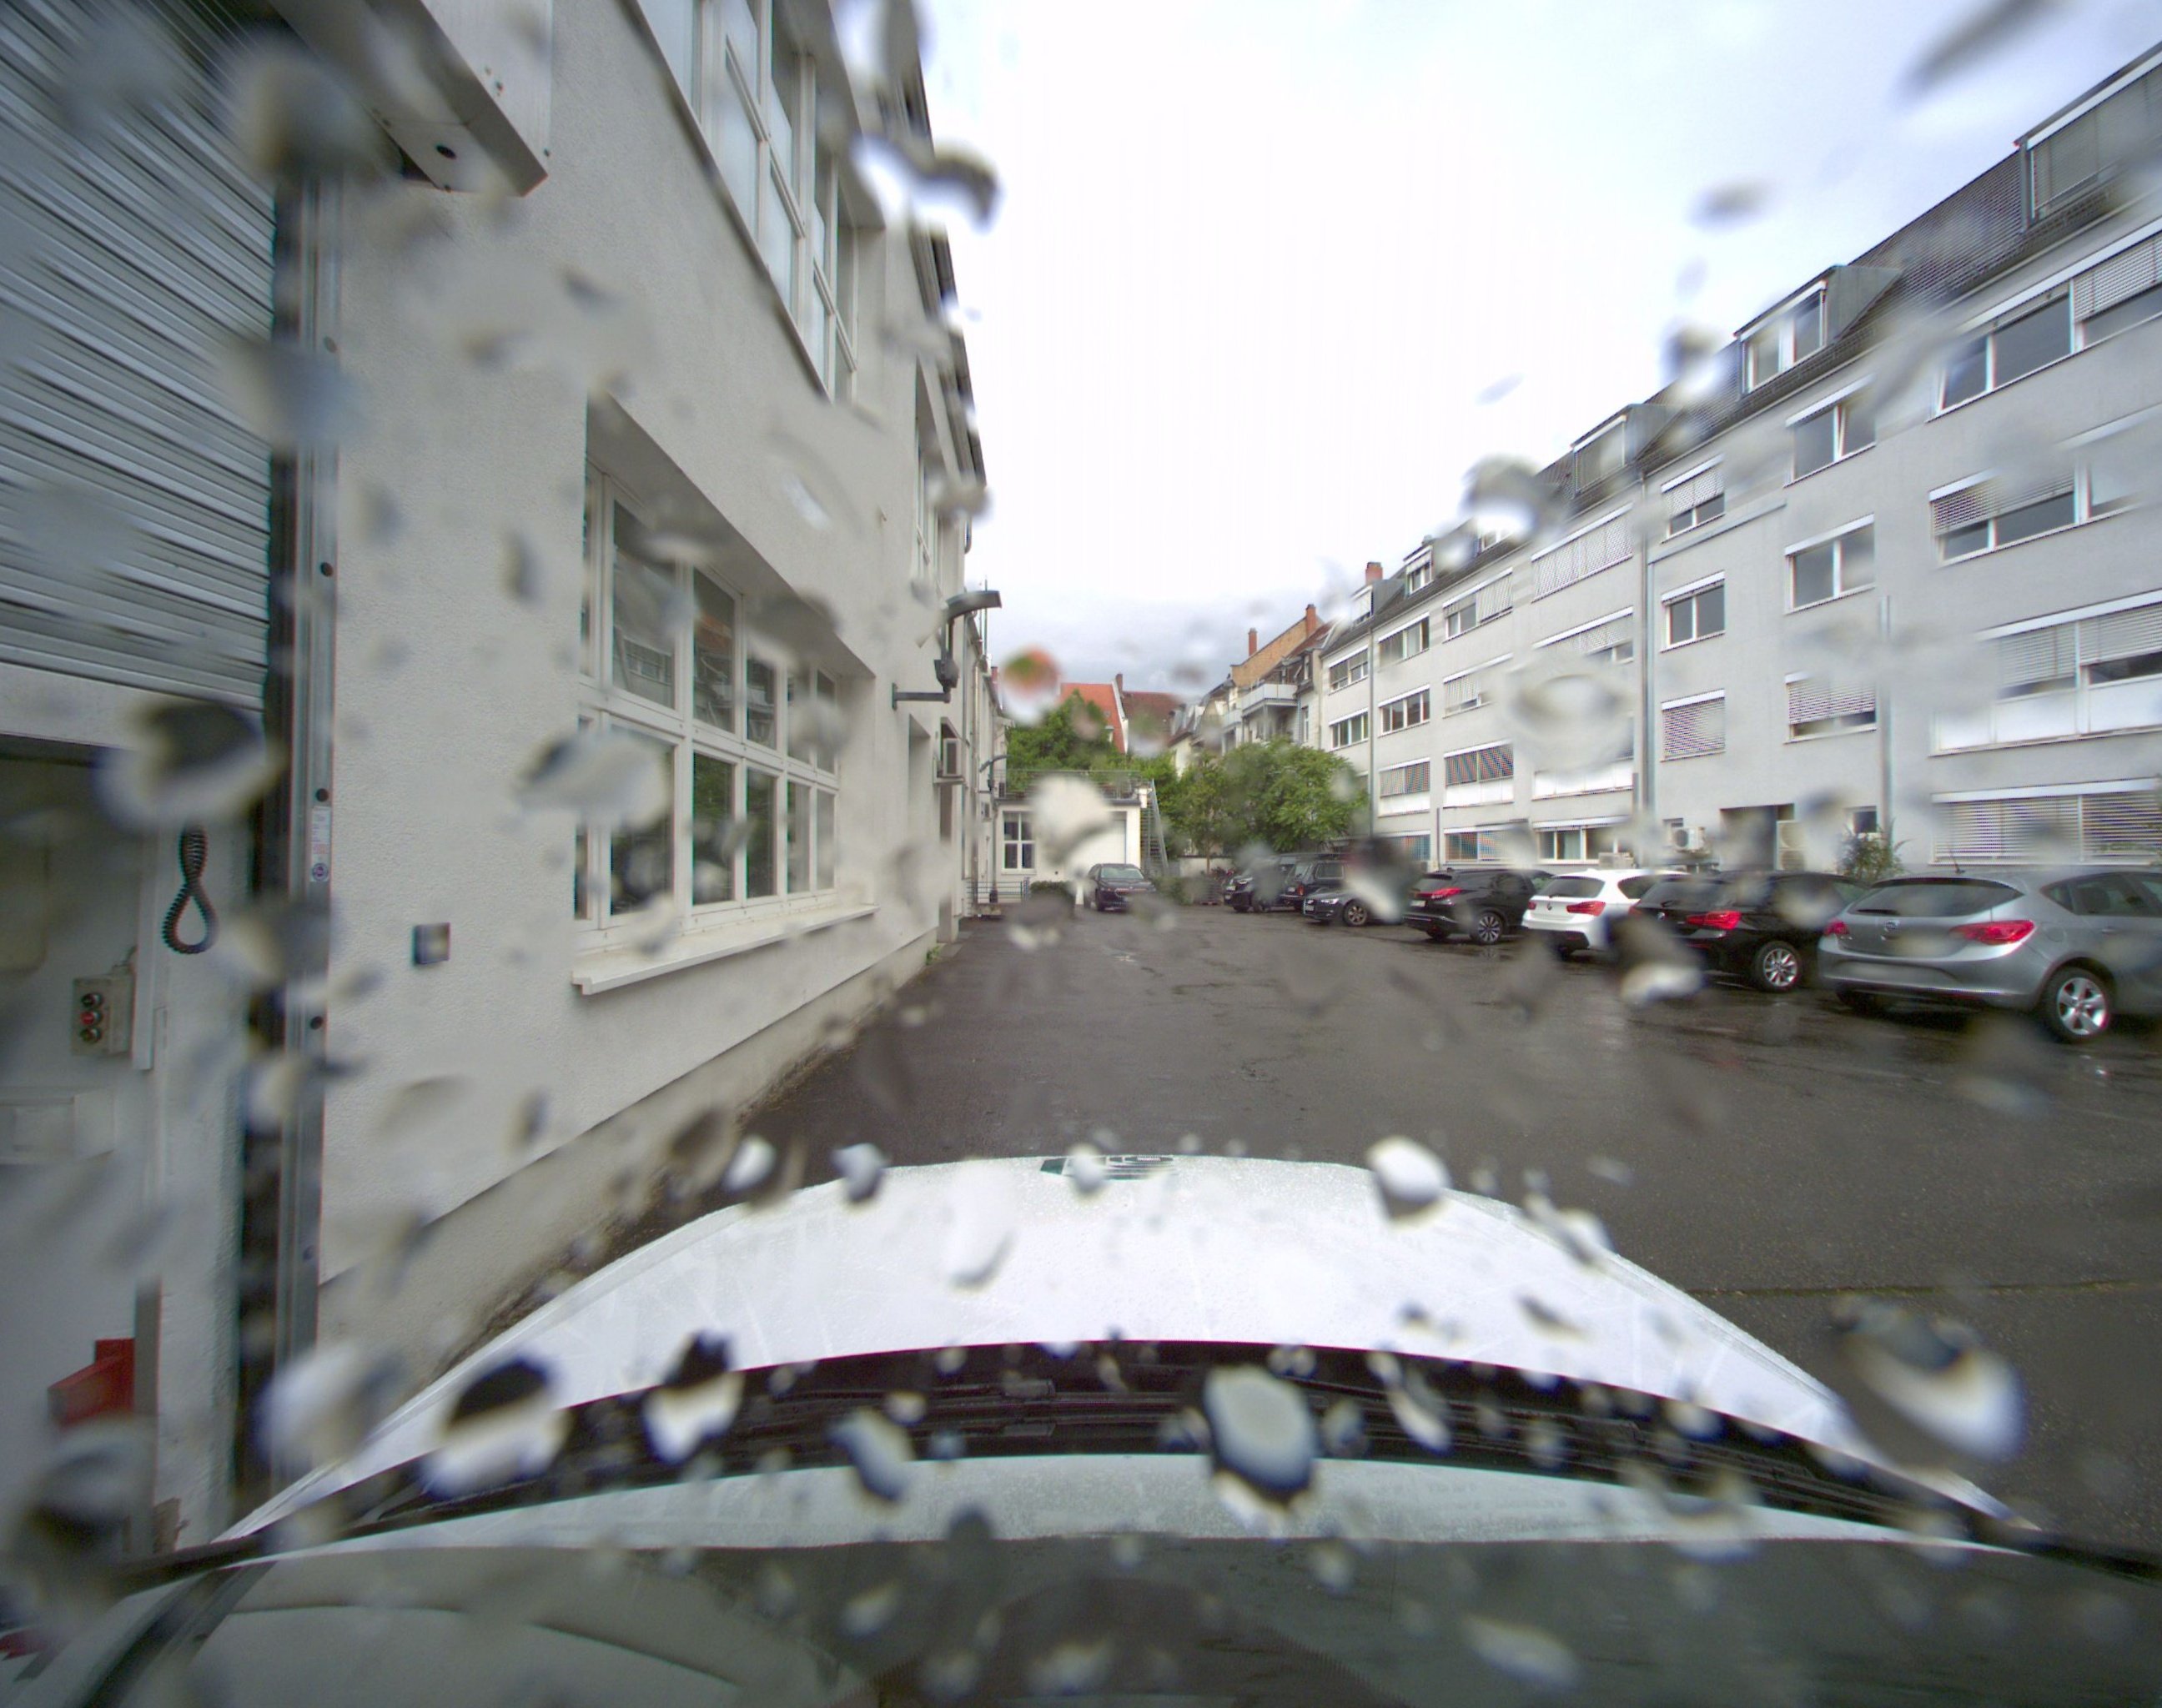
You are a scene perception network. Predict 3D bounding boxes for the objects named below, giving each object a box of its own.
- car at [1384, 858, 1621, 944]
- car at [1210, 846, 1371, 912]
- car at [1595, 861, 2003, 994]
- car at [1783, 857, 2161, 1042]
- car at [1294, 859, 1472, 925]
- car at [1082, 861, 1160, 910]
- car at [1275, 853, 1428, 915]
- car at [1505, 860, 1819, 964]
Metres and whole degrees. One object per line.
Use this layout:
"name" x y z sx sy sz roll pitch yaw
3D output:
"car" 8.355 0.883 16.294 3.910 1.514 1.813 -1 -1 -11
"car" 6.864 0.767 26.846 4.641 2.003 2.215 -1 0 -14
"car" 9.085 0.847 10.467 3.985 1.403 1.768 -1 0 -8
"car" 9.403 0.786 7.818 3.982 1.445 1.802 -1 -1 -7
"car" 7.663 0.931 20.822 3.907 1.514 1.747 -1 -1 -9
"car" 1.200 0.970 26.239 1.976 1.444 3.993 0 0 -5
"car" 7.932 0.870 24.107 3.902 1.687 1.814 -1 -1 -5
"car" 9.165 0.857 13.005 3.985 1.458 1.768 -1 -1 -9
